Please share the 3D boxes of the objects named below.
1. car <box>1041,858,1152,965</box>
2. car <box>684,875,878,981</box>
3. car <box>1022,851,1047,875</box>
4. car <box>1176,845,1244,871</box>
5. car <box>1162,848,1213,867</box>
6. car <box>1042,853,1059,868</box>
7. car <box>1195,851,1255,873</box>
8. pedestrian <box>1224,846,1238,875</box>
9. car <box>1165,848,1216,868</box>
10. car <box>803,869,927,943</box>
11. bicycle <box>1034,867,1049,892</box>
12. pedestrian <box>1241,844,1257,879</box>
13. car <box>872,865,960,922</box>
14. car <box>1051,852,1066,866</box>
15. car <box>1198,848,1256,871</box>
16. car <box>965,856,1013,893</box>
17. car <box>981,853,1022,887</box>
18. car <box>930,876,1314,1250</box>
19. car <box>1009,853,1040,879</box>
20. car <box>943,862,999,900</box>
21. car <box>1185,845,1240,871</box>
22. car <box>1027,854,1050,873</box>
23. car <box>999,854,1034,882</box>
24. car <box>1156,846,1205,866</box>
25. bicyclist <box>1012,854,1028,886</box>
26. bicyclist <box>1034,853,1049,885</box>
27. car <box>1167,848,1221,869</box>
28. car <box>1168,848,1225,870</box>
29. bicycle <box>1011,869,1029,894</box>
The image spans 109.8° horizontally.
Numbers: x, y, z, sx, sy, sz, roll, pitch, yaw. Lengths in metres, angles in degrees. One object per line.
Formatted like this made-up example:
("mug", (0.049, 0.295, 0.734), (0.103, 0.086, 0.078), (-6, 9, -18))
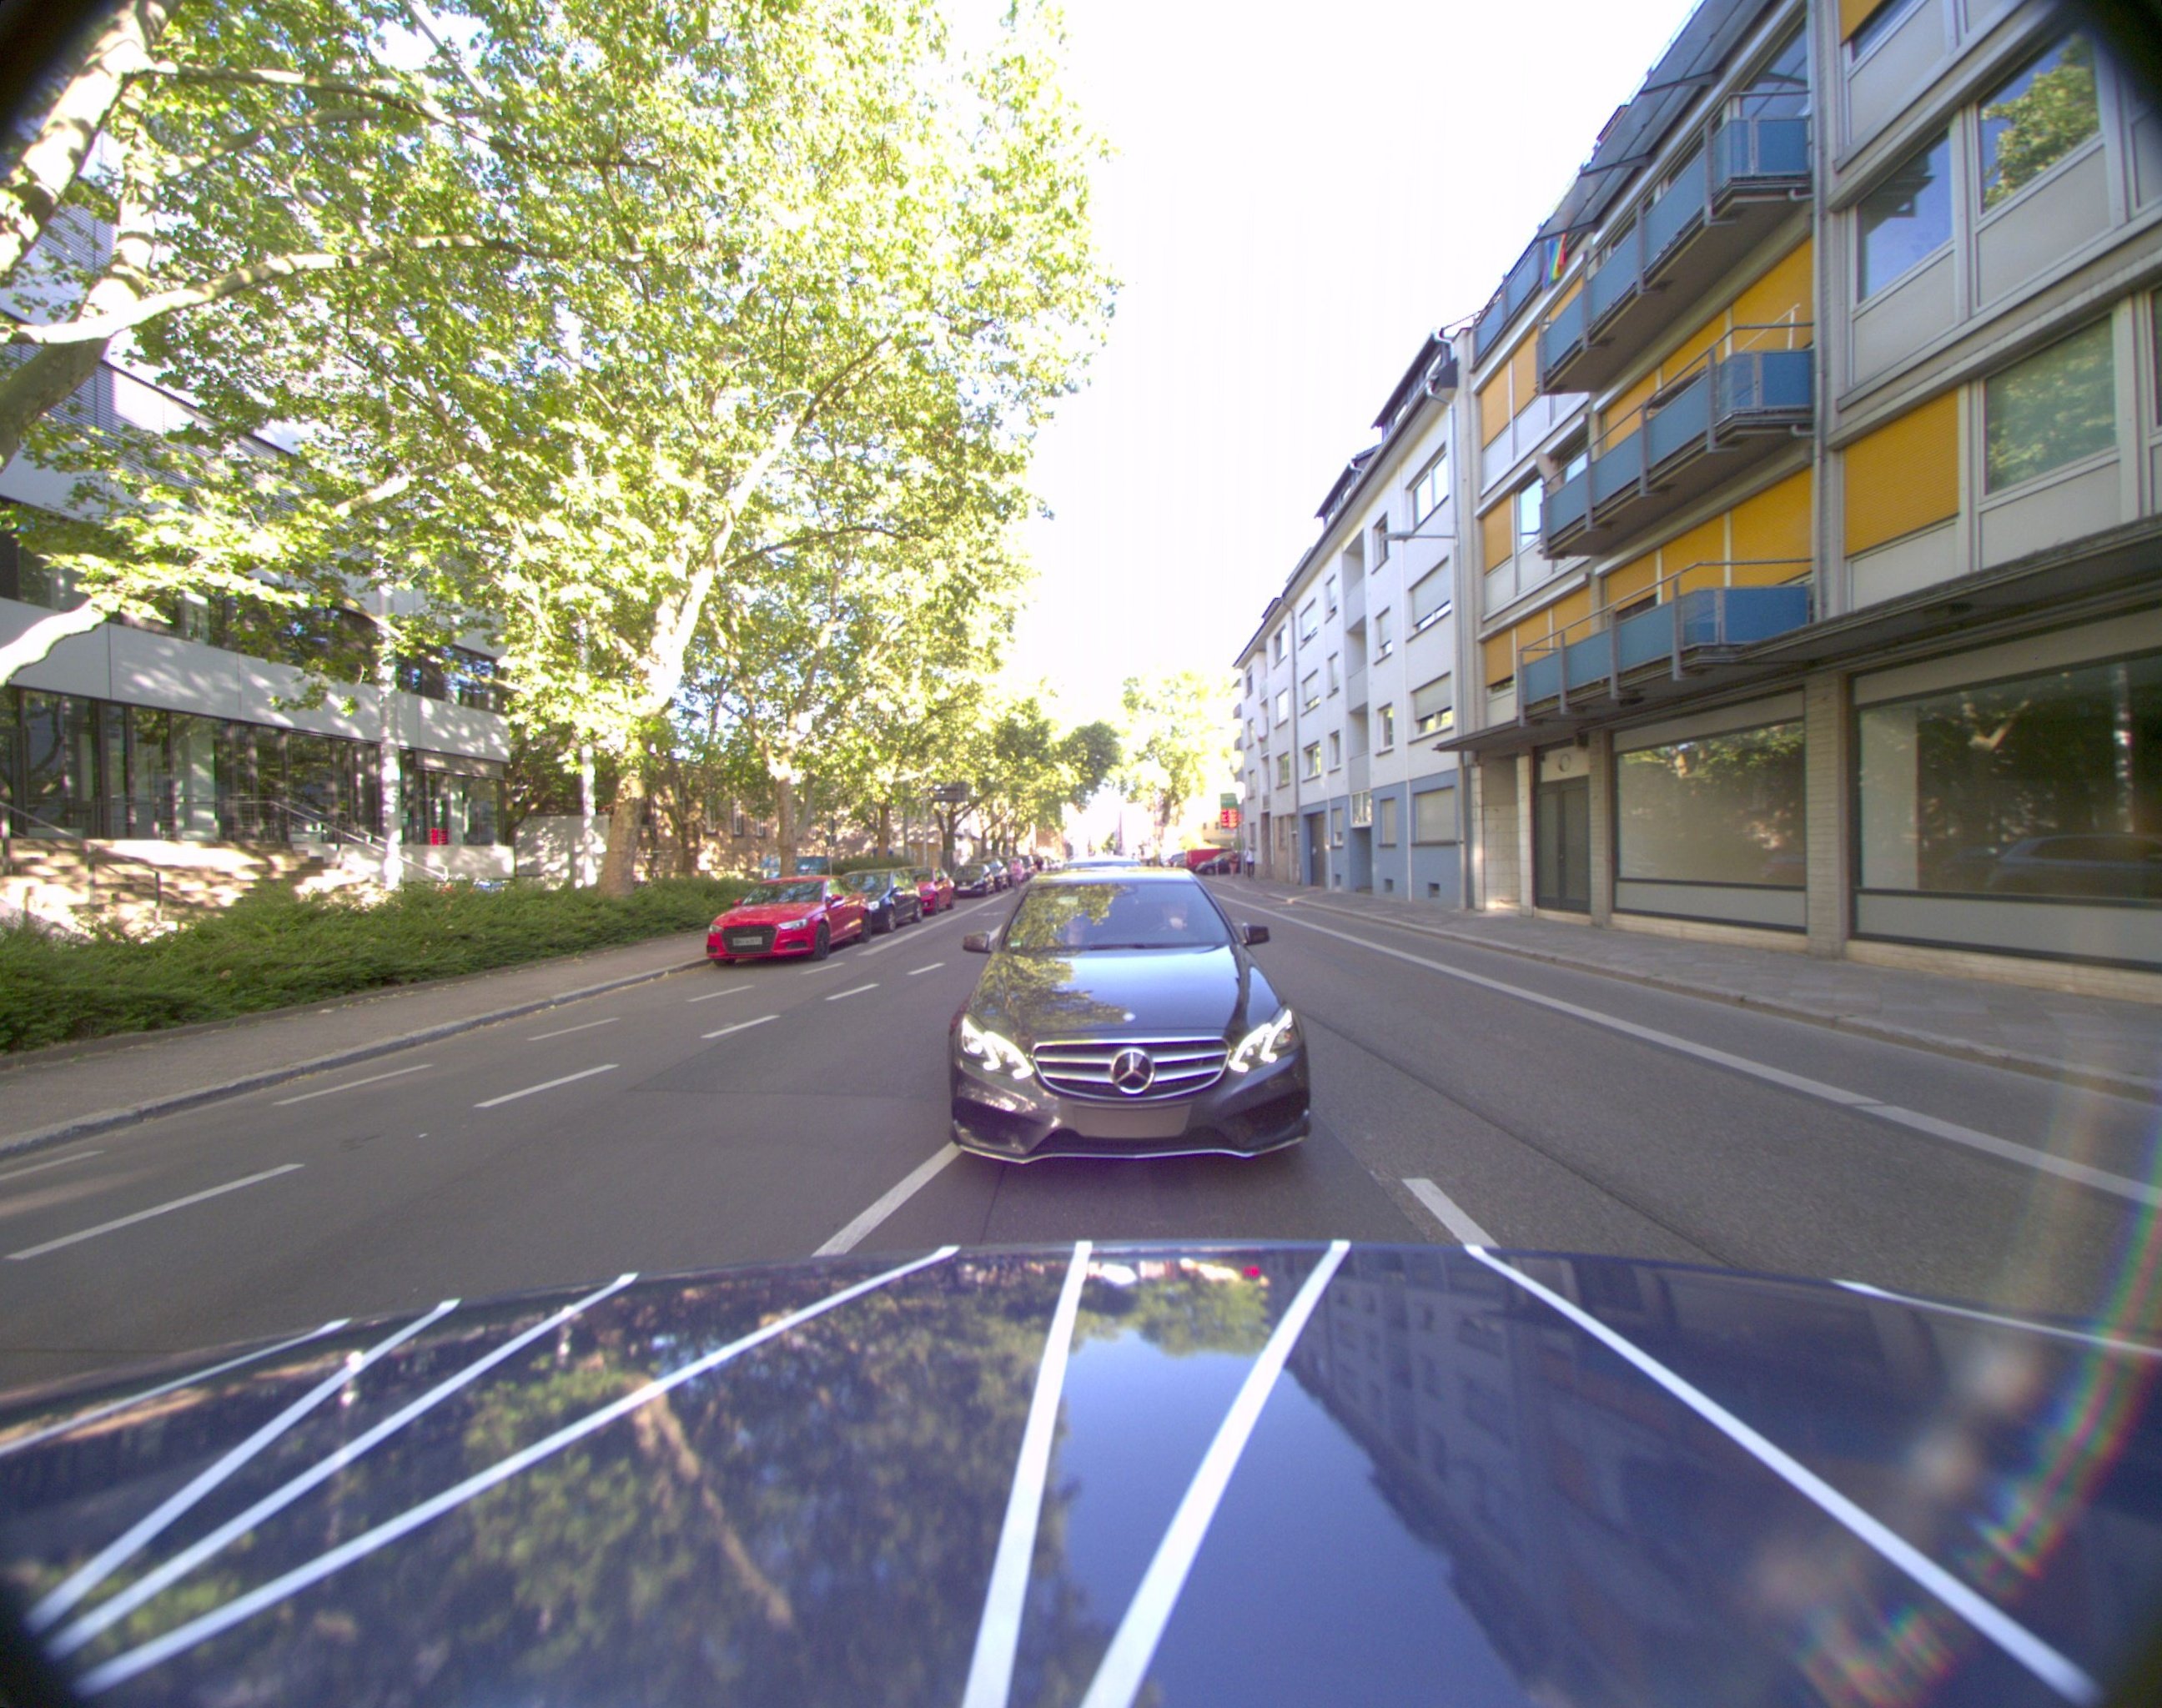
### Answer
("car", (0.268, 0.887, 13.613), (1.667, 1.563, 4.000), (-1, 0, 1))
("car", (-5.121, 1.192, 13.601), (1.755, 1.400, 4.000), (-3, 0, 1))
("car", (-3.999, 0.730, 66.393), (1.755, 1.941, 4.447), (-3, 0, 1))
("car", (10.634, 0.296, 63.109), (5.223, 1.969, 2.257), (-2, 0, 1))
("car", (11.320, 0.350, 81.189), (5.042, 1.926, 2.315), (-2, 0, 1))
("car", (-3.649, 0.774, 93.008), (1.755, 1.652, 4.447), (-3, 0, 1))
("car", (10.354, 0.564, 54.785), (3.997, 1.412, 1.743), (-2, 0, 1))
("pedestrian", (8.616, 0.381, 43.682), (0.604, 1.632, 0.842), (-2, 1, 1))
("car", (11.284, 0.375, 78.723), (4.991, 1.926, 2.083), (-2, 0, 1))
("car", (-5.088, 1.173, 18.447), (1.755, 1.424, 3.909), (-3, 0, 1))
("bicycle", (-1.778, 1.136, 34.274), (0.574, 1.053, 1.595), (-2, 0, 1))
("pedestrian", (8.643, 0.391, 39.054), (0.608, 1.737, 0.756), (-2, 1, 1))
("car", (-5.037, 1.147, 23.659), (1.755, 1.459, 3.909), (-3, 0, 1))
("car", (-3.017, 0.651, 103.207), (1.755, 1.652, 4.447), (-3, 0, 1))
("car", (10.910, 0.393, 56.995), (3.997, 1.552, 1.743), (-2, 0, 1))
("car", (-4.565, 0.977, 38.267), (1.755, 1.644, 4.174), (-3, 0, 1))
("car", (-4.556, 0.872, 44.066), (1.755, 1.810, 4.447), (-3, 0, 1))
("car", (0.209, 0.984, 5.361), (1.667, 1.499, 4.000), (-1, 0, 1))
("car", (-4.105, 0.823, 55.760), (1.755, 1.753, 4.447), (-3, 0, 1))
("car", (-4.753, 1.119, 33.297), (1.755, 1.424, 3.909), (-3, 0, 1))
("car", (10.329, 0.302, 60.084), (3.997, 1.926, 1.867), (-2, 0, 1))
("car", (-4.005, 0.904, 72.179), (1.755, 1.652, 4.447), (-3, 0, 1))
("car", (-4.275, 0.881, 50.949), (1.755, 1.718, 4.447), (-3, 0, 1))
("car", (11.188, 0.203, 85.525), (5.143, 2.135, 2.187), (-2, 0, 1))
("bicyclist", (-2.785, 0.742, 34.723), (0.650, 1.427, 0.741), (-2, 1, 1))
("bicyclist", (-1.783, 0.660, 34.117), (0.581, 1.424, 0.741), (-2, 1, 1))
("car", (11.270, 0.406, 76.225), (5.054, 1.926, 2.161), (-2, 0, 1))
("car", (11.097, 0.445, 73.525), (5.143, 1.926, 2.187), (-2, 0, 1))
("bicycle", (-2.776, 1.253, 34.630), (0.650, 1.053, 1.595), (-2, 0, 1))
